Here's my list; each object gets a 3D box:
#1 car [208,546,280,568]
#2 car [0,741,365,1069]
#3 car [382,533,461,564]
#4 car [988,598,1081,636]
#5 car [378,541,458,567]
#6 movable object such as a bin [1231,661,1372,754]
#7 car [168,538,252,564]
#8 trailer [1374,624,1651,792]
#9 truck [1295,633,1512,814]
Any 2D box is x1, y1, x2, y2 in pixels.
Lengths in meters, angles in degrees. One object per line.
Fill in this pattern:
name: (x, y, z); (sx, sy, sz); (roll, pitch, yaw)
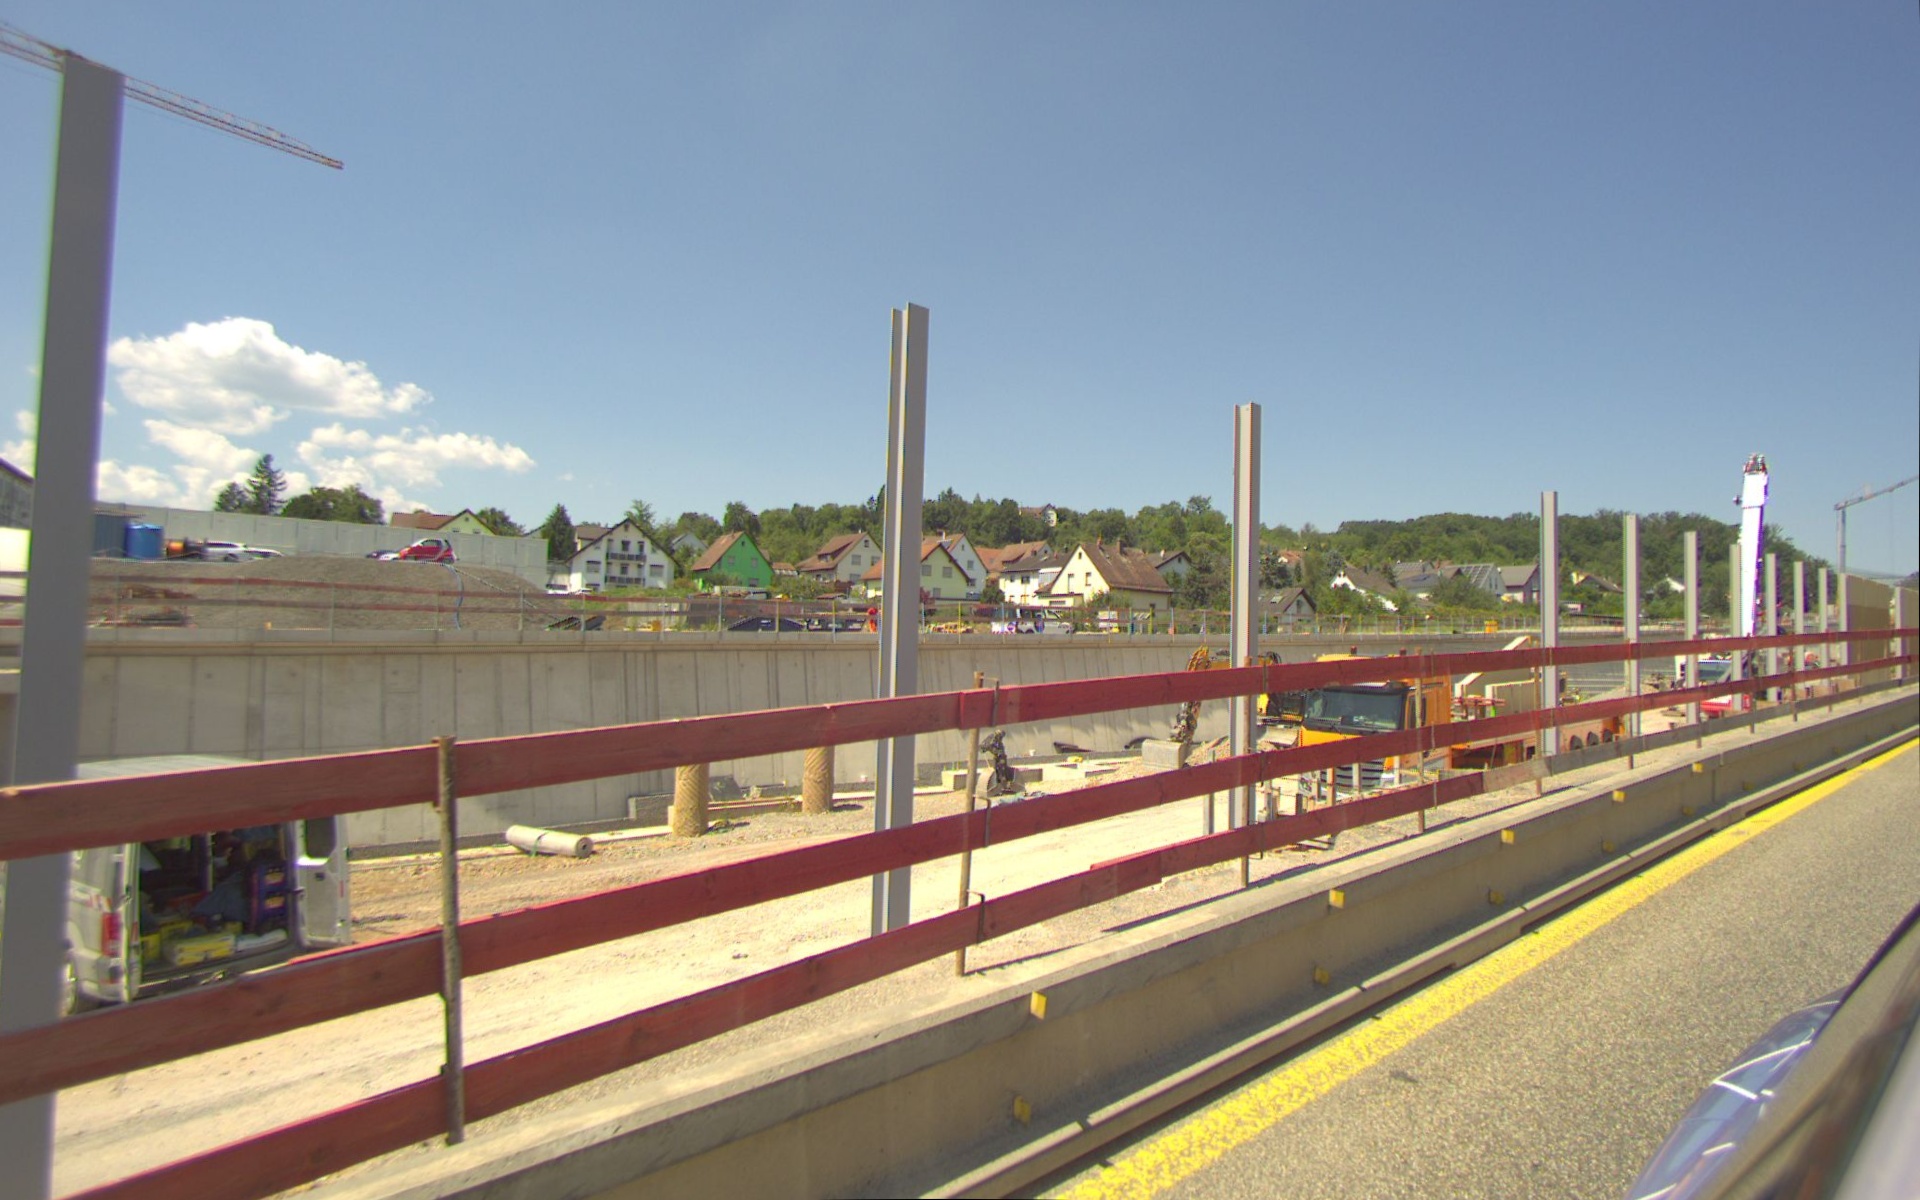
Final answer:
car: (-51.566, -3.083, 72.946); (4.139, 1.505, 1.728); (-1, 0, -40)
car: (-9.632, 3.196, 12.095); (6.267, 2.615, 2.027); (-3, -4, 36)
car: (-29.162, -2.761, 54.875); (3.544, 1.505, 1.544); (-1, 0, -41)
car: (3.504, 0.741, 47.018); (4.528, 1.623, 1.656); (-1, 0, -42)
car: (-33.630, -2.813, 62.827); (4.141, 1.505, 1.727); (-1, 0, -41)
movable object such as a bin: (12.471, 3.814, 37.025); (3.926, 2.820, 3.268); (-1, 0, -37)
car: (-46.838, -3.016, 63.277); (4.136, 1.505, 1.729); (-1, 0, -37)
trailer: (15.713, 2.563, 27.974); (12.669, 3.394, 2.444); (-1, 0, -41)
truck: (10.259, 2.589, 23.217); (5.341, 3.447, 2.503); (-1, 0, -41)
